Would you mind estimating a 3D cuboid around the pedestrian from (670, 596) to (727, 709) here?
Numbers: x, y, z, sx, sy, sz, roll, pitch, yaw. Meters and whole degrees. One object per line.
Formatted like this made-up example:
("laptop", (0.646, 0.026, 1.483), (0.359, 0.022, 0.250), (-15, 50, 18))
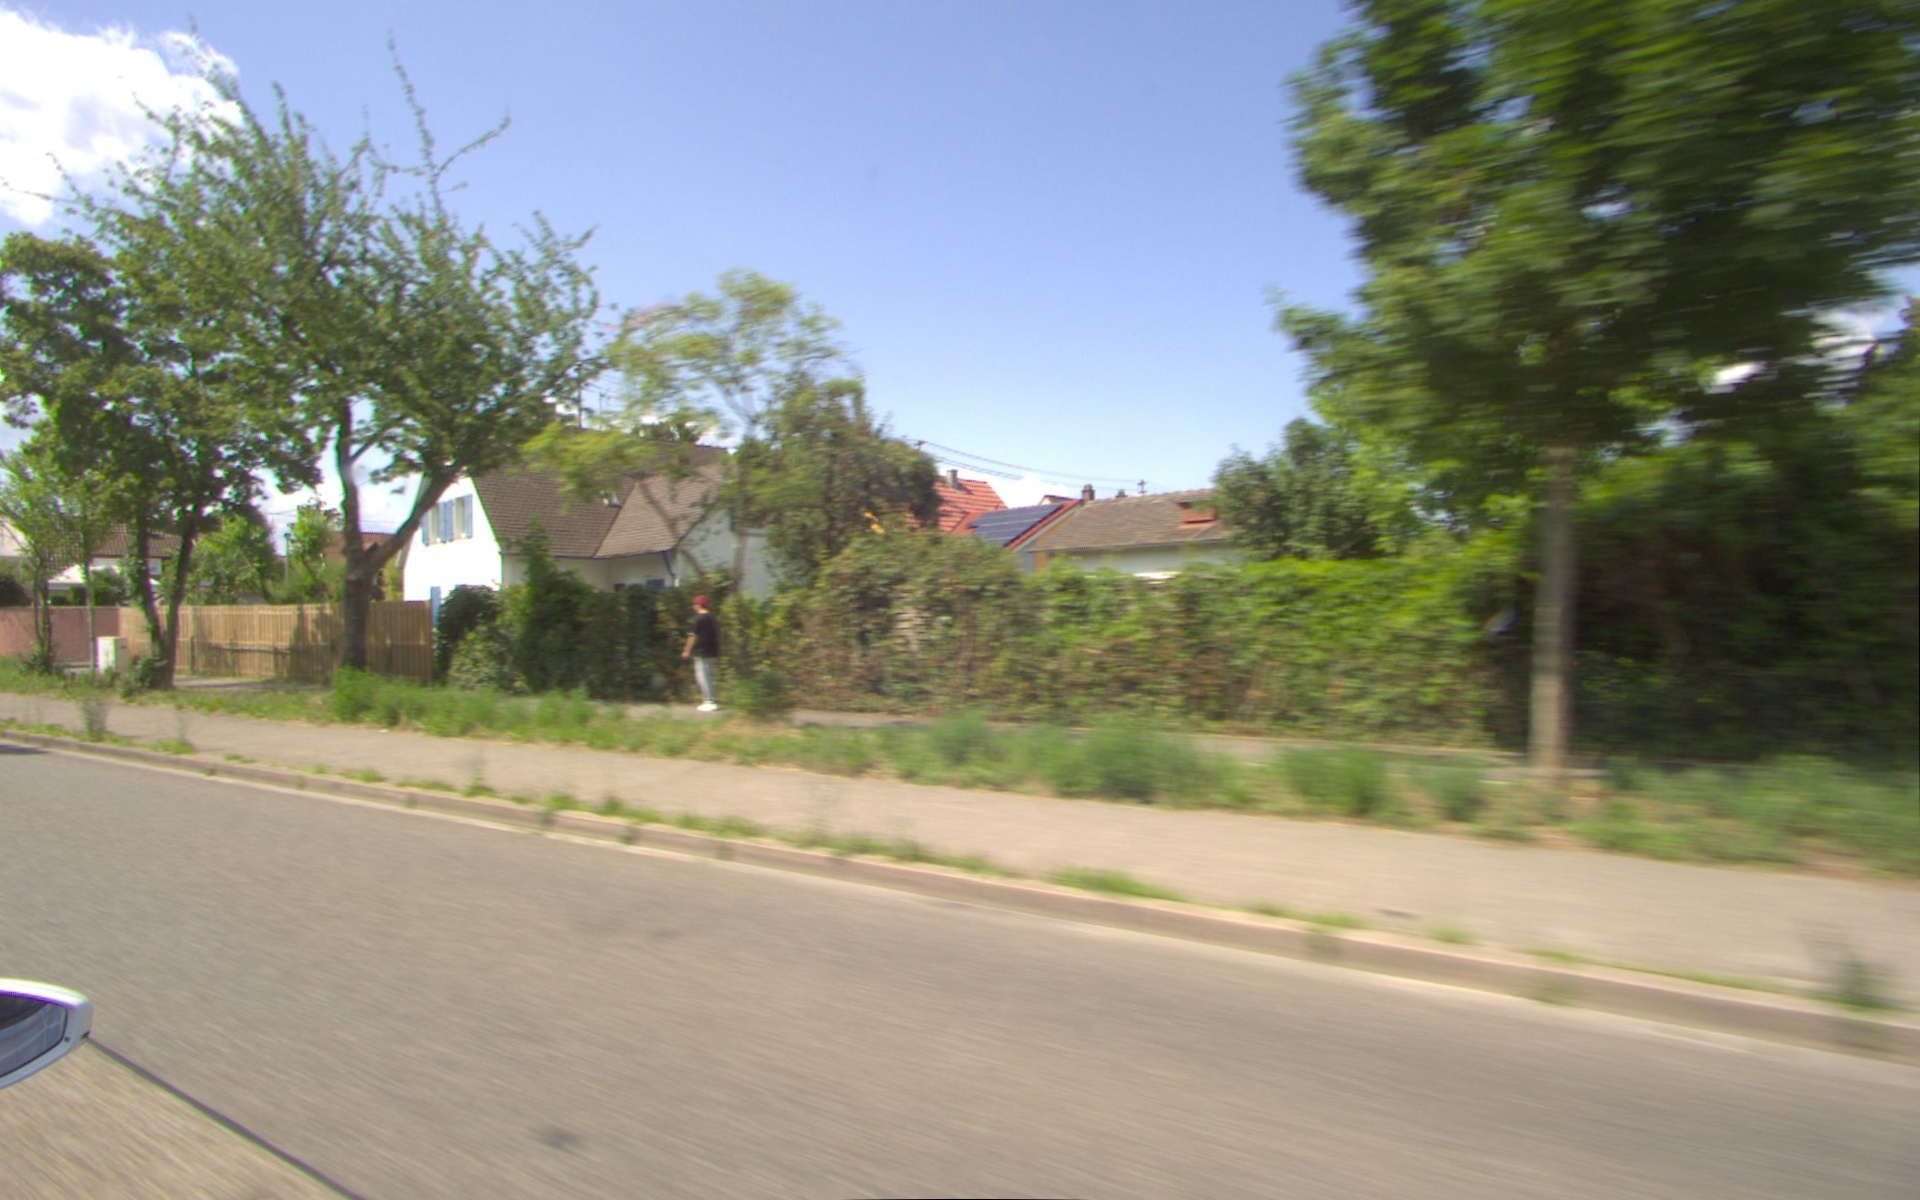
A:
("pedestrian", (-4.013, 0.794, 15.378), (0.625, 1.698, 0.559), (0, -1, 32))
